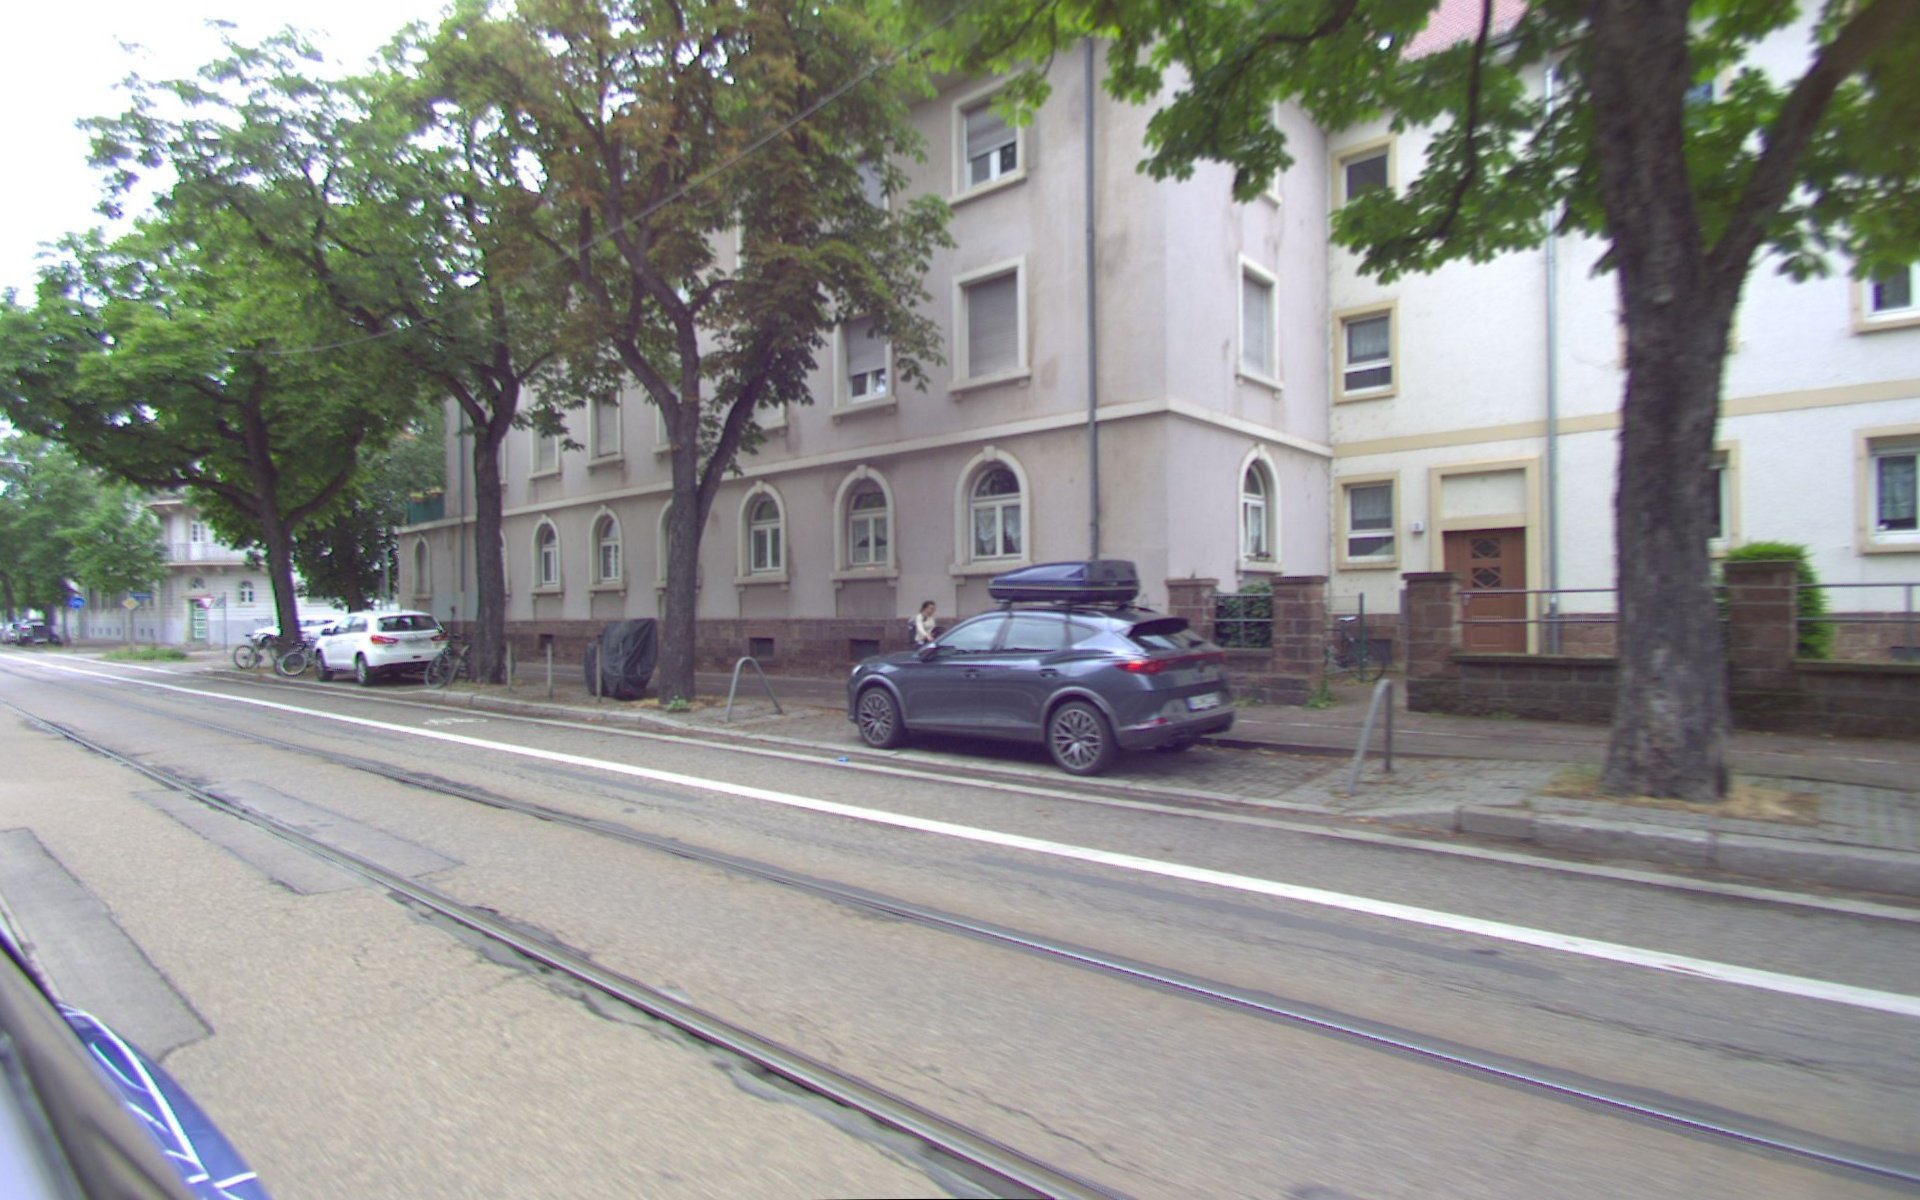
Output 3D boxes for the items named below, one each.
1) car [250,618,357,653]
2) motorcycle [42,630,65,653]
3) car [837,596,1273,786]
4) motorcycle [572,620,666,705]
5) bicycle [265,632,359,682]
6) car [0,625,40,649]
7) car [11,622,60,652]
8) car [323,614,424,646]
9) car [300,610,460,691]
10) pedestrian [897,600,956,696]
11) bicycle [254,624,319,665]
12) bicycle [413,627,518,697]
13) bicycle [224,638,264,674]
[{"bbox_3d":[-34.537,1.837,53.392,4.438,1.675,1.945,-1,-1,-23],"label":"car"},{"bbox_3d":[-51.234,2.323,57.194,2.137,1.267,0.535,-1,-1,35],"label":"motorcycle"},{"bbox_3d":[0.810,0.789,10.388,4.237,1.522,1.758,-2,0,43],"label":"car"},{"bbox_3d":[-5.758,1.004,17.001,0.852,1.298,2.328,-1,0,-35],"label":"motorcycle"},{"bbox_3d":[-16.640,1.452,26.011,0.623,1.129,1.902,-2,1,41],"label":"bicycle"},{"bbox_3d":[-62.826,2.455,67.374,4.611,1.477,1.793,-2,0,41],"label":"car"},{"bbox_3d":[-56.713,2.250,62.043,4.293,1.673,1.818,-2,1,43],"label":"car"},{"bbox_3d":[-28.710,1.460,49.675,4.000,1.421,1.667,-2,0,-20],"label":"car"},{"bbox_3d":[-13.375,1.104,23.259,4.222,1.668,1.878,-2,0,41],"label":"car"},{"bbox_3d":[-0.532,0.742,16.069,0.722,1.478,0.558,-2,-1,42],"label":"pedestrian"},{"bbox_3d":[-19.564,1.294,29.379,1.925,1.144,0.671,-3,-2,25],"label":"bicycle"},{"bbox_3d":[-9.718,1.213,19.898,1.720,1.201,0.654,-3,-4,-34],"label":"bicycle"},{"bbox_3d":[-20.433,1.587,28.881,1.394,0.965,0.479,-1,-1,34],"label":"bicycle"}]
